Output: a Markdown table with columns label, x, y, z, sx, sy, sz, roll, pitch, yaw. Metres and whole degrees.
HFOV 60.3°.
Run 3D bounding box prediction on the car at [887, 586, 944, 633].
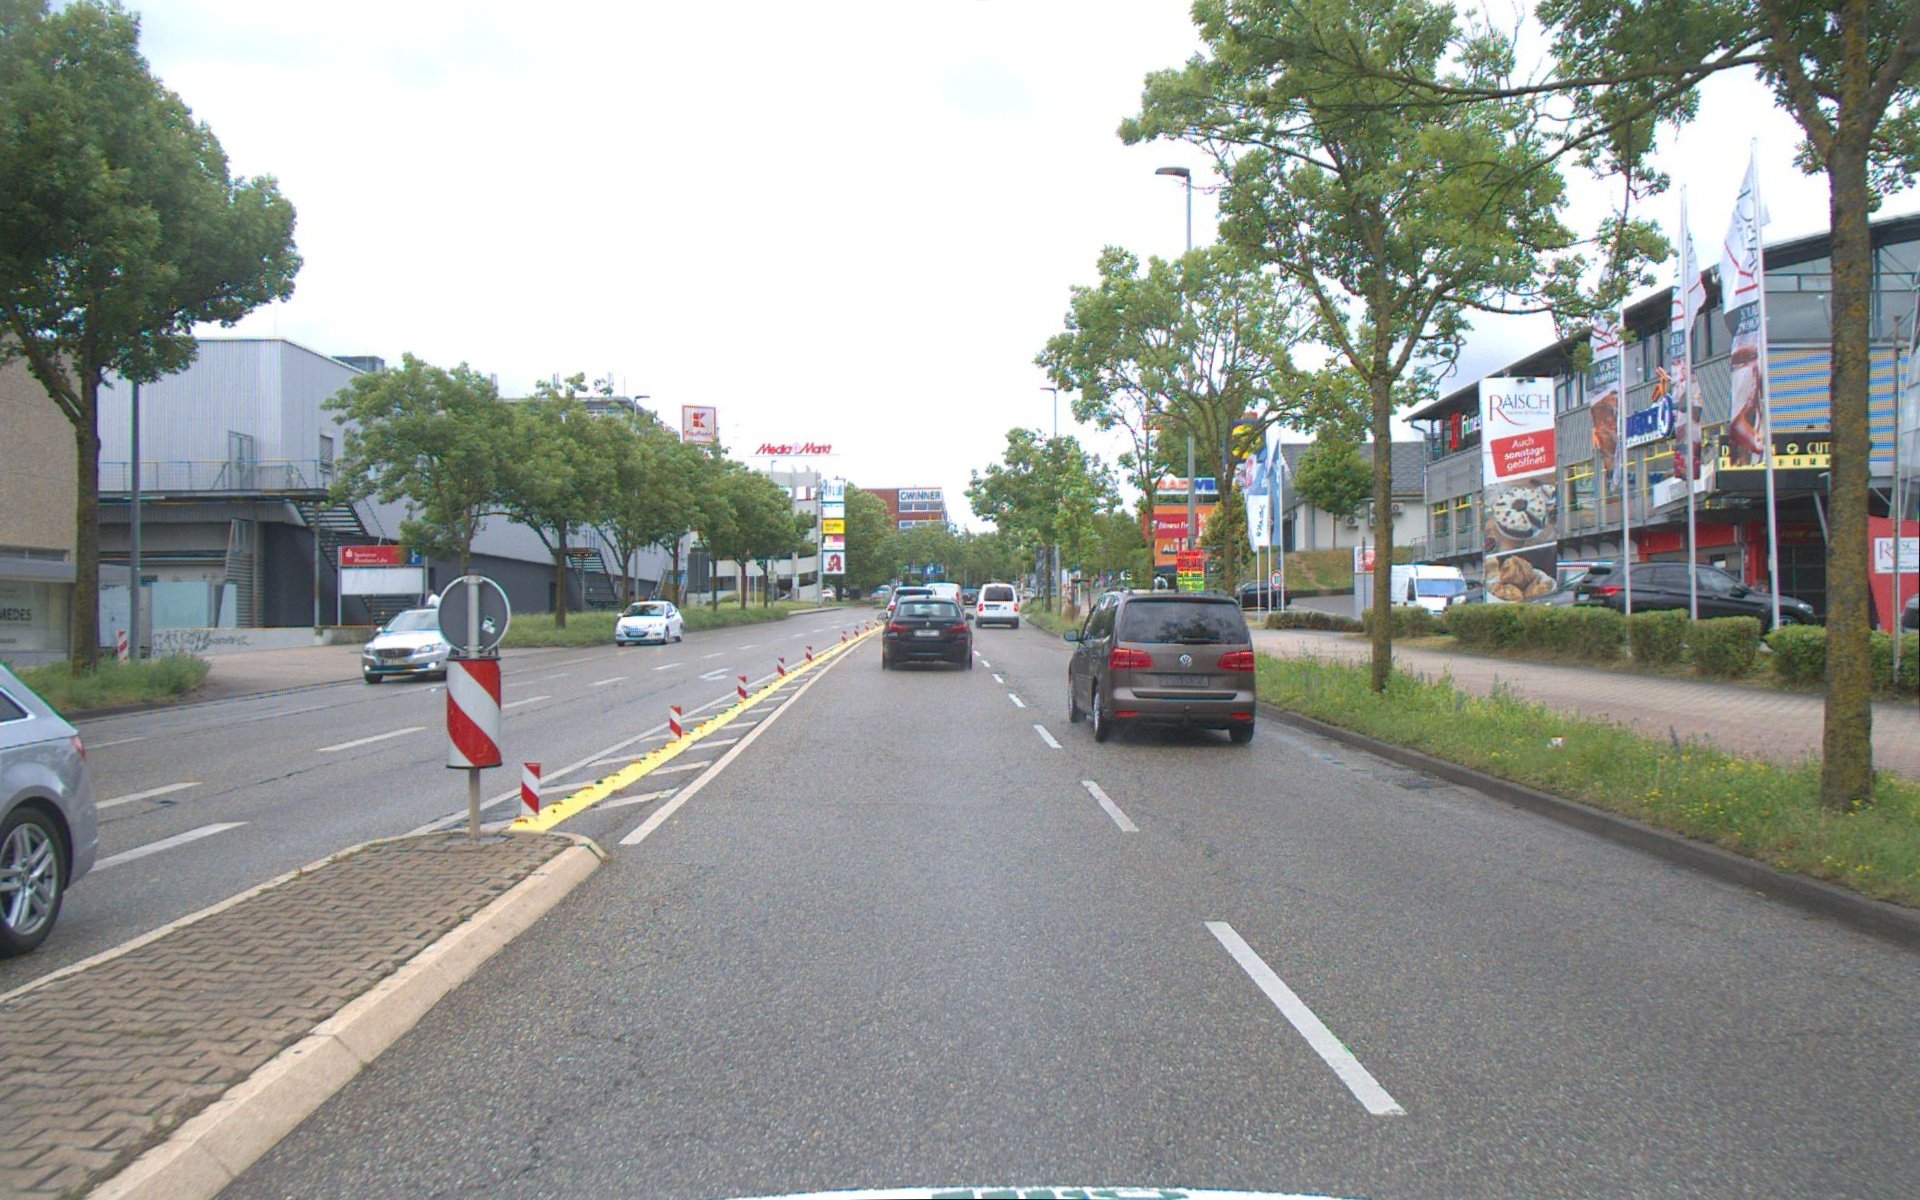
| label | x | y | z | sx | sy | sz | roll | pitch | yaw |
| --- | --- | --- | --- | --- | --- | --- | --- | --- | --- |
| car | -1.390 | 0.304 | 52.362 | 1.745 | 1.422 | 3.999 | 0 | 0 | -1 |

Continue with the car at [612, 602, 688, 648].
| label | x | y | z | sx | sy | sz | roll | pitch | yaw |
| --- | --- | --- | --- | --- | --- | --- | --- | --- | --- |
| car | -10.466 | 0.821 | 56.024 | 1.904 | 1.474 | 3.999 | 0 | 0 | -1 |

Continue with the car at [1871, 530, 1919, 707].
| label | x | y | z | sx | sy | sz | roll | pitch | yaw |
| --- | --- | --- | --- | --- | --- | --- | --- | --- | --- |
| car | 13.644 | 0.205 | 20.213 | 4.026 | 2.142 | 1.800 | -1 | 0 | 1 |

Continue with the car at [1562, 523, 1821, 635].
| label | x | y | z | sx | sy | sz | roll | pitch | yaw |
| --- | --- | --- | --- | --- | --- | --- | --- | --- | --- |
| car | 13.625 | -0.384 | 30.961 | 4.026 | 1.938 | 1.800 | -1 | 0 | 1 |

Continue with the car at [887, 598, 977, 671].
| label | x | y | z | sx | sy | sz | roll | pitch | yaw |
| --- | --- | --- | --- | --- | --- | --- | --- | --- | --- |
| car | -0.577 | 0.679 | 34.026 | 1.745 | 1.422 | 3.999 | 0 | 0 | -1 |

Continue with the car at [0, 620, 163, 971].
| label | x | y | z | sx | sy | sz | roll | pitch | yaw |
| --- | --- | --- | --- | --- | --- | --- | --- | --- | --- |
| car | -4.772 | 0.842 | 5.739 | 1.688 | 1.422 | 4.788 | -3 | 0 | -1 |

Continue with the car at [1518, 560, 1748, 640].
| label | x | y | z | sx | sy | sz | roll | pitch | yaw |
| --- | --- | --- | --- | --- | --- | --- | --- | --- | --- |
| car | 13.749 | 0.004 | 33.985 | 4.024 | 1.563 | 1.801 | -1 | 0 | 5 |

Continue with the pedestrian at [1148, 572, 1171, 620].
| label | x | y | z | sx | sy | sz | roll | pitch | yaw |
| --- | --- | --- | --- | --- | --- | --- | --- | --- | --- |
| pedestrian | 8.542 | -0.176 | 70.870 | 0.826 | 2.049 | 0.861 | -1 | 0 | -4 |

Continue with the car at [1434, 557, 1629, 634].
| label | x | y | z | sx | sy | sz | roll | pitch | yaw |
| --- | --- | --- | --- | --- | --- | --- | --- | --- | --- |
| car | 13.464 | -0.109 | 39.137 | 4.024 | 1.733 | 1.801 | -1 | 0 | 5 |

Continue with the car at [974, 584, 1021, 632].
| label | x | y | z | sx | sy | sz | roll | pitch | yaw |
| --- | --- | --- | --- | --- | --- | --- | --- | --- | --- |
| car | 1.535 | 0.346 | 68.768 | 1.745 | 1.899 | 3.999 | -1 | 0 | -1 |

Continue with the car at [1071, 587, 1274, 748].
| label | x | y | z | sx | sy | sz | roll | pitch | yaw |
| --- | --- | --- | --- | --- | --- | --- | --- | --- | --- |
| car | 2.320 | 0.691 | 19.095 | 1.764 | 1.615 | 4.450 | 1 | 0 | 0 |

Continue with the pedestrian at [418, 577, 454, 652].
| label | x | y | z | sx | sy | sz | roll | pitch | yaw |
| --- | --- | --- | --- | --- | --- | --- | --- | --- | --- |
| pedestrian | -16.068 | 0.440 | 50.750 | 0.842 | 2.257 | 0.845 | -1 | 0 | -4 |

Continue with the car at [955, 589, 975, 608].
| label | x | y | z | sx | sy | sz | roll | pitch | yaw |
| --- | --- | --- | --- | --- | --- | --- | --- | --- | --- |
| car | 0.428 | -0.103 | 138.311 | 1.562 | 1.500 | 3.443 | 1 | -1 | -1 |

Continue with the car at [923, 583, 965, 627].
| label | x | y | z | sx | sy | sz | roll | pitch | yaw |
| --- | --- | --- | --- | --- | --- | --- | --- | --- | --- |
| car | -0.760 | 0.249 | 80.765 | 1.953 | 2.049 | 3.999 | 1 | -1 | 0 |

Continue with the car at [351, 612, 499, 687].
| label | x | y | z | sx | sy | sz | roll | pitch | yaw |
| --- | --- | --- | --- | --- | --- | --- | --- | --- | --- |
| car | -11.217 | 1.007 | 34.966 | 1.904 | 1.478 | 3.999 | 0 | 0 | -1 |

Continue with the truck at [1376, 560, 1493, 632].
| label | x | y | z | sx | sy | sz | roll | pitch | yaw |
| --- | --- | --- | --- | --- | --- | --- | --- | --- | --- |
| truck | 16.490 | -0.079 | 57.790 | 2.393 | 2.389 | 5.456 | 1 | -1 | -1 |
